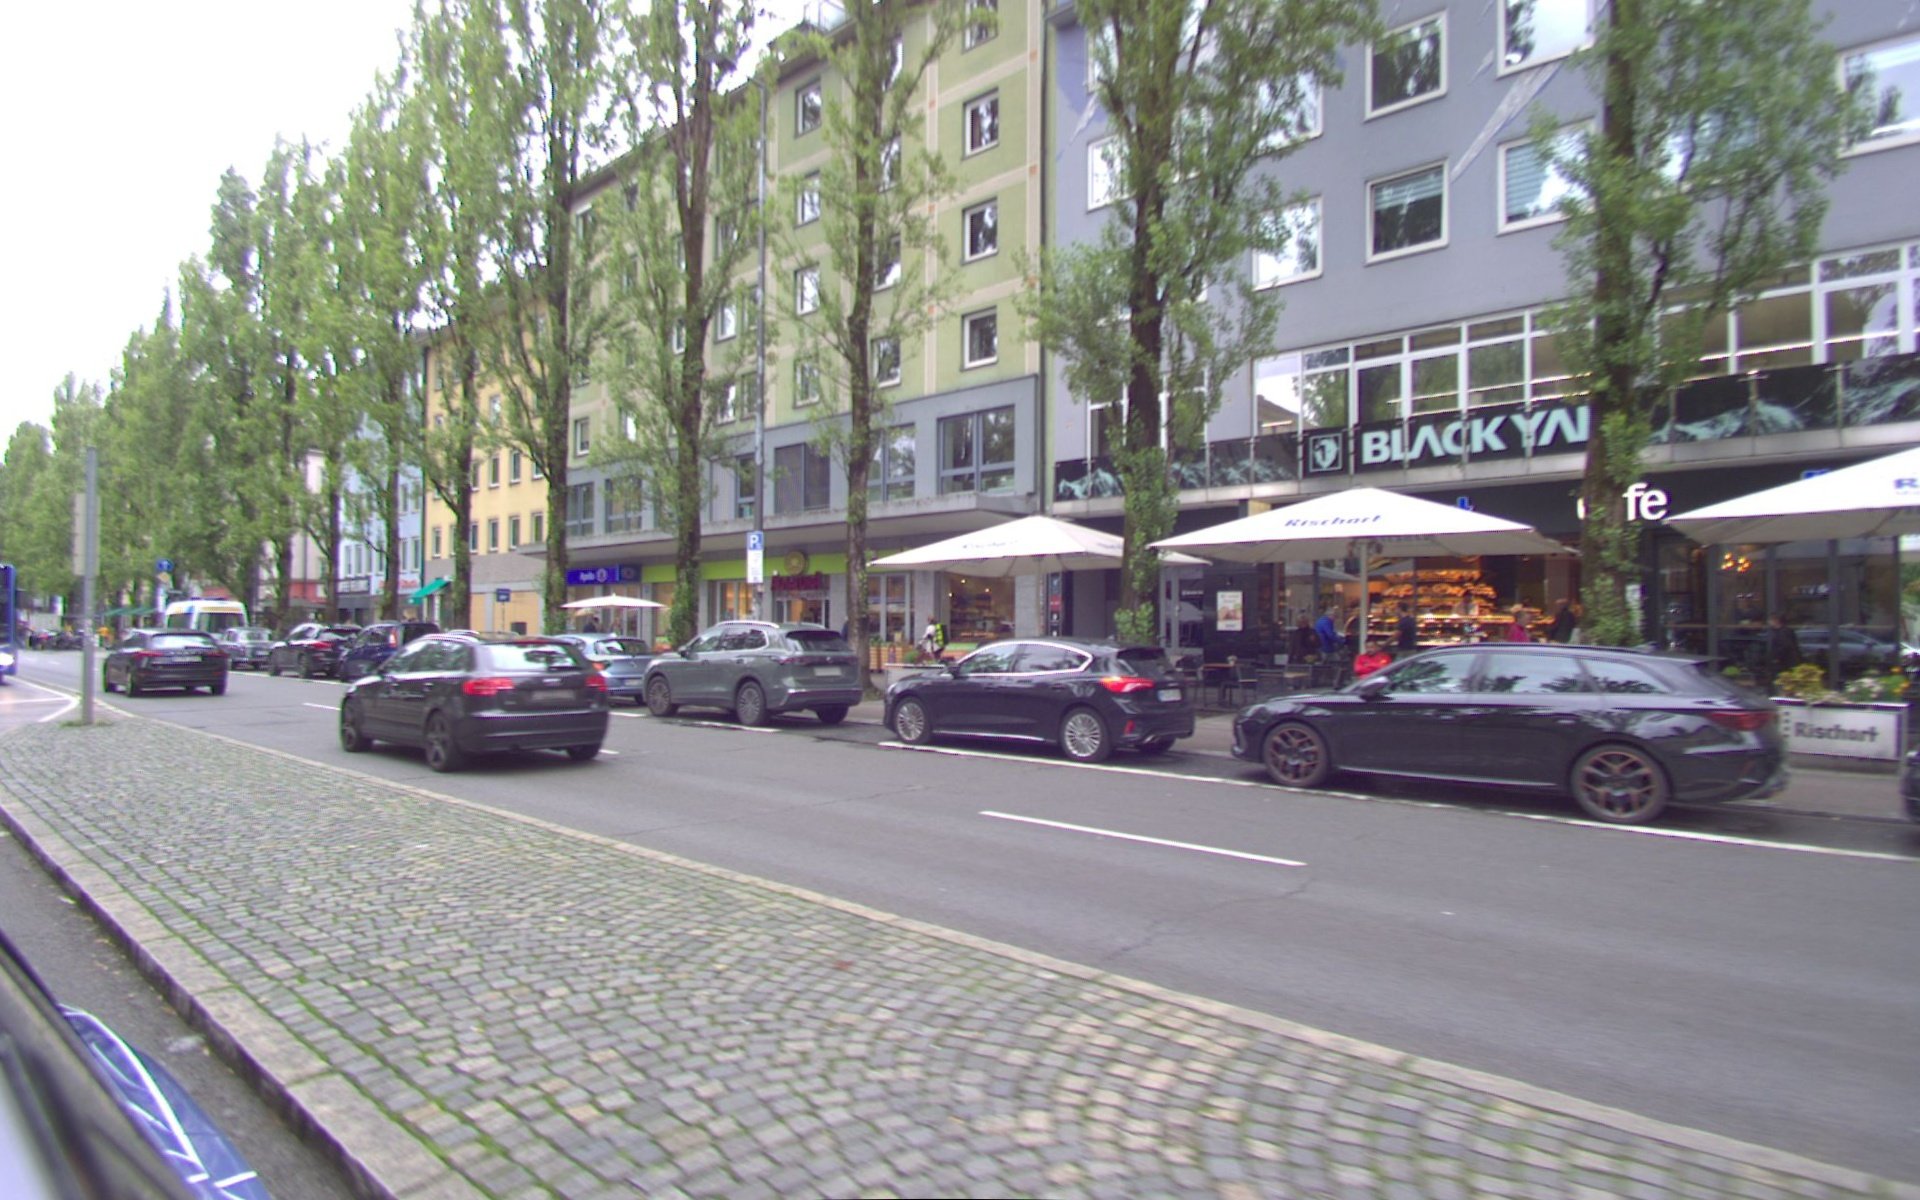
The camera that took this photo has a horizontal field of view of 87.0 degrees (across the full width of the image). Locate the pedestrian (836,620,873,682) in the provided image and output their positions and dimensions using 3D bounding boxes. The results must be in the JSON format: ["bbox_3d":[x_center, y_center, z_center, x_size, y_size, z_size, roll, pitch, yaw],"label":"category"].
[{"bbox_3d":[-2.910,1.393,27.917,0.755,1.685,0.701,-2,-2,42],"label":"pedestrian"}]

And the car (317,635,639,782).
[{"bbox_3d":[-5.634,1.115,11.613,4.174,1.372,1.817,-2,-4,42],"label":"car"}]

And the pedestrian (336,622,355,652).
[{"bbox_3d":[-34.651,2.096,57.098,0.706,1.663,0.714,-2,-3,42],"label":"pedestrian"}]

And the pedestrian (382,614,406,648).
[{"bbox_3d":[-24.815,1.356,44.373,0.550,1.449,0.759,-1,-2,36],"label":"pedestrian"}]

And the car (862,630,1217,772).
[{"bbox_3d":[0.887,1.158,12.899,4.367,1.477,1.660,-1,-3,40],"label":"car"}]

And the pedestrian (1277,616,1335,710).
[{"bbox_3d":[6.127,1.091,17.919,0.742,1.614,0.746,-2,-2,40],"label":"pedestrian"}]

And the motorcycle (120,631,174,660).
[{"bbox_3d":[-40.908,2.272,50.948,0.569,1.432,2.000,-1,-2,34],"label":"motorcycle"}]

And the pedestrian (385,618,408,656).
[{"bbox_3d":[-26.978,1.763,48.450,0.723,1.779,0.723,-2,-2,40],"label":"pedestrian"}]

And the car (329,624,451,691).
[{"bbox_3d":[-15.844,1.567,28.070,3.767,1.699,1.601,-1,-4,39],"label":"car"}]

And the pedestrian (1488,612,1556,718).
[{"bbox_3d":[8.875,1.002,15.986,0.756,1.614,0.732,-2,-3,43],"label":"pedestrian"}]

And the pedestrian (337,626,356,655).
[{"bbox_3d":[-30.470,2.015,50.282,0.550,1.449,0.641,-1,-2,36],"label":"pedestrian"}]

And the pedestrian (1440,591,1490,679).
[{"bbox_3d":[10.741,0.742,21.519,0.743,1.818,0.772,-2,-3,44],"label":"pedestrian"}]

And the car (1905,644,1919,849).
[{"bbox_3d":[8.569,1.000,6.054,4.185,1.392,1.478,-1,-3,42],"label":"car"}]

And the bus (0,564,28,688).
[{"bbox_3d":[-28.130,0.740,27.436,12.850,2.925,2.770,-2,-2,41],"label":"bus"}]

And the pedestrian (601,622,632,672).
[{"bbox_3d":[-11.519,1.574,33.940,0.711,1.663,0.714,-2,-3,42],"label":"pedestrian"}]

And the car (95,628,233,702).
[{"bbox_3d":[-17.877,1.408,22.670,4.049,1.476,1.738,-1,-4,42],"label":"car"}]

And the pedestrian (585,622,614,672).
[{"bbox_3d":[-13.330,1.736,37.397,0.715,1.808,0.739,-2,-2,42],"label":"pedestrian"}]

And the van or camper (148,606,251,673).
[{"bbox_3d":[-31.479,1.599,41.786,6.641,2.570,2.103,-2,-2,42],"label":"van or camper"}]

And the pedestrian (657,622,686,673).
[{"bbox_3d":[-10.199,1.666,35.735,0.715,1.768,0.714,-2,-2,42],"label":"pedestrian"}]

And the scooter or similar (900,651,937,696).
[{"bbox_3d":[-0.952,1.660,23.065,0.433,0.948,1.248,1,-1,-23],"label":"scooter or similar"}]

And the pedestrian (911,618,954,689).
[{"bbox_3d":[-0.711,1.355,25.886,0.755,1.768,0.810,-2,-2,42],"label":"pedestrian"}]

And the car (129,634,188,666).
[{"bbox_3d":[-36.683,2.257,46.300,3.760,1.422,1.539,-2,-2,42],"label":"car"}]

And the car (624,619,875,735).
[{"bbox_3d":[-3.630,1.189,16.967,4.585,1.693,1.760,-1,-3,43],"label":"car"}]

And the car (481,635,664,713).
[{"bbox_3d":[-8.173,1.478,21.173,4.397,1.428,1.641,-1,-3,40],"label":"car"}]

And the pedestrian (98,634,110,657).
[{"bbox_3d":[-59.434,3.168,70.248,0.600,1.601,0.552,2,-3,-38],"label":"pedestrian"}]

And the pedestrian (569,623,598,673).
[{"bbox_3d":[-13.729,1.739,36.922,0.715,1.808,0.739,-2,-2,42],"label":"pedestrian"}]

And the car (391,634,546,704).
[{"bbox_3d":[-11.823,1.575,24.197,4.583,1.457,1.685,-1,-2,41],"label":"car"}]

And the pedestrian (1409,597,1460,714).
[{"bbox_3d":[9.304,1.072,19.831,0.692,2.228,0.772,-2,-2,40],"label":"pedestrian"}]

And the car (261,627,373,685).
[{"bbox_3d":[-19.898,1.675,31.267,4.501,1.645,1.685,-1,-3,41],"label":"car"}]

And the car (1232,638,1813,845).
[{"bbox_3d":[4.947,1.097,9.332,4.432,1.423,1.685,-1,-3,41],"label":"car"}]

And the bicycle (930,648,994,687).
[{"bbox_3d":[0.027,1.771,26.714,1.849,0.979,0.474,-2,-2,42],"label":"bicycle"}]

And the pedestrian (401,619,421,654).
[{"bbox_3d":[-26.644,1.769,49.145,0.723,1.717,0.632,-2,-2,41],"label":"pedestrian"}]

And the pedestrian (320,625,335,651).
[{"bbox_3d":[-36.461,2.193,58.344,0.551,1.449,0.601,-2,-2,41],"label":"pedestrian"}]

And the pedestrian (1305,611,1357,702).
[{"bbox_3d":[7.401,1.111,20.186,0.755,1.768,0.733,-2,-3,42],"label":"pedestrian"}]

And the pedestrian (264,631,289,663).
[{"bbox_3d":[-30.742,2.117,45.537,0.669,1.449,0.610,0,-2,0],"label":"pedestrian"}]

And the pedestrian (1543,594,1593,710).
[{"bbox_3d":[11.934,1.006,19.874,0.692,2.228,0.772,-2,-2,40],"label":"pedestrian"}]

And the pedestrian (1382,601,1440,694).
[{"bbox_3d":[8.267,0.862,18.535,0.756,1.653,0.732,-2,-3,43],"label":"pedestrian"}]

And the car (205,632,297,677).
[{"bbox_3d":[-26.155,1.974,37.304,4.257,1.541,1.686,-1,-3,40],"label":"car"}]

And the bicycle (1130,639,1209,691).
[{"bbox_3d":[4.603,1.409,22.270,1.575,1.105,0.612,-1,-2,30],"label":"bicycle"}]
